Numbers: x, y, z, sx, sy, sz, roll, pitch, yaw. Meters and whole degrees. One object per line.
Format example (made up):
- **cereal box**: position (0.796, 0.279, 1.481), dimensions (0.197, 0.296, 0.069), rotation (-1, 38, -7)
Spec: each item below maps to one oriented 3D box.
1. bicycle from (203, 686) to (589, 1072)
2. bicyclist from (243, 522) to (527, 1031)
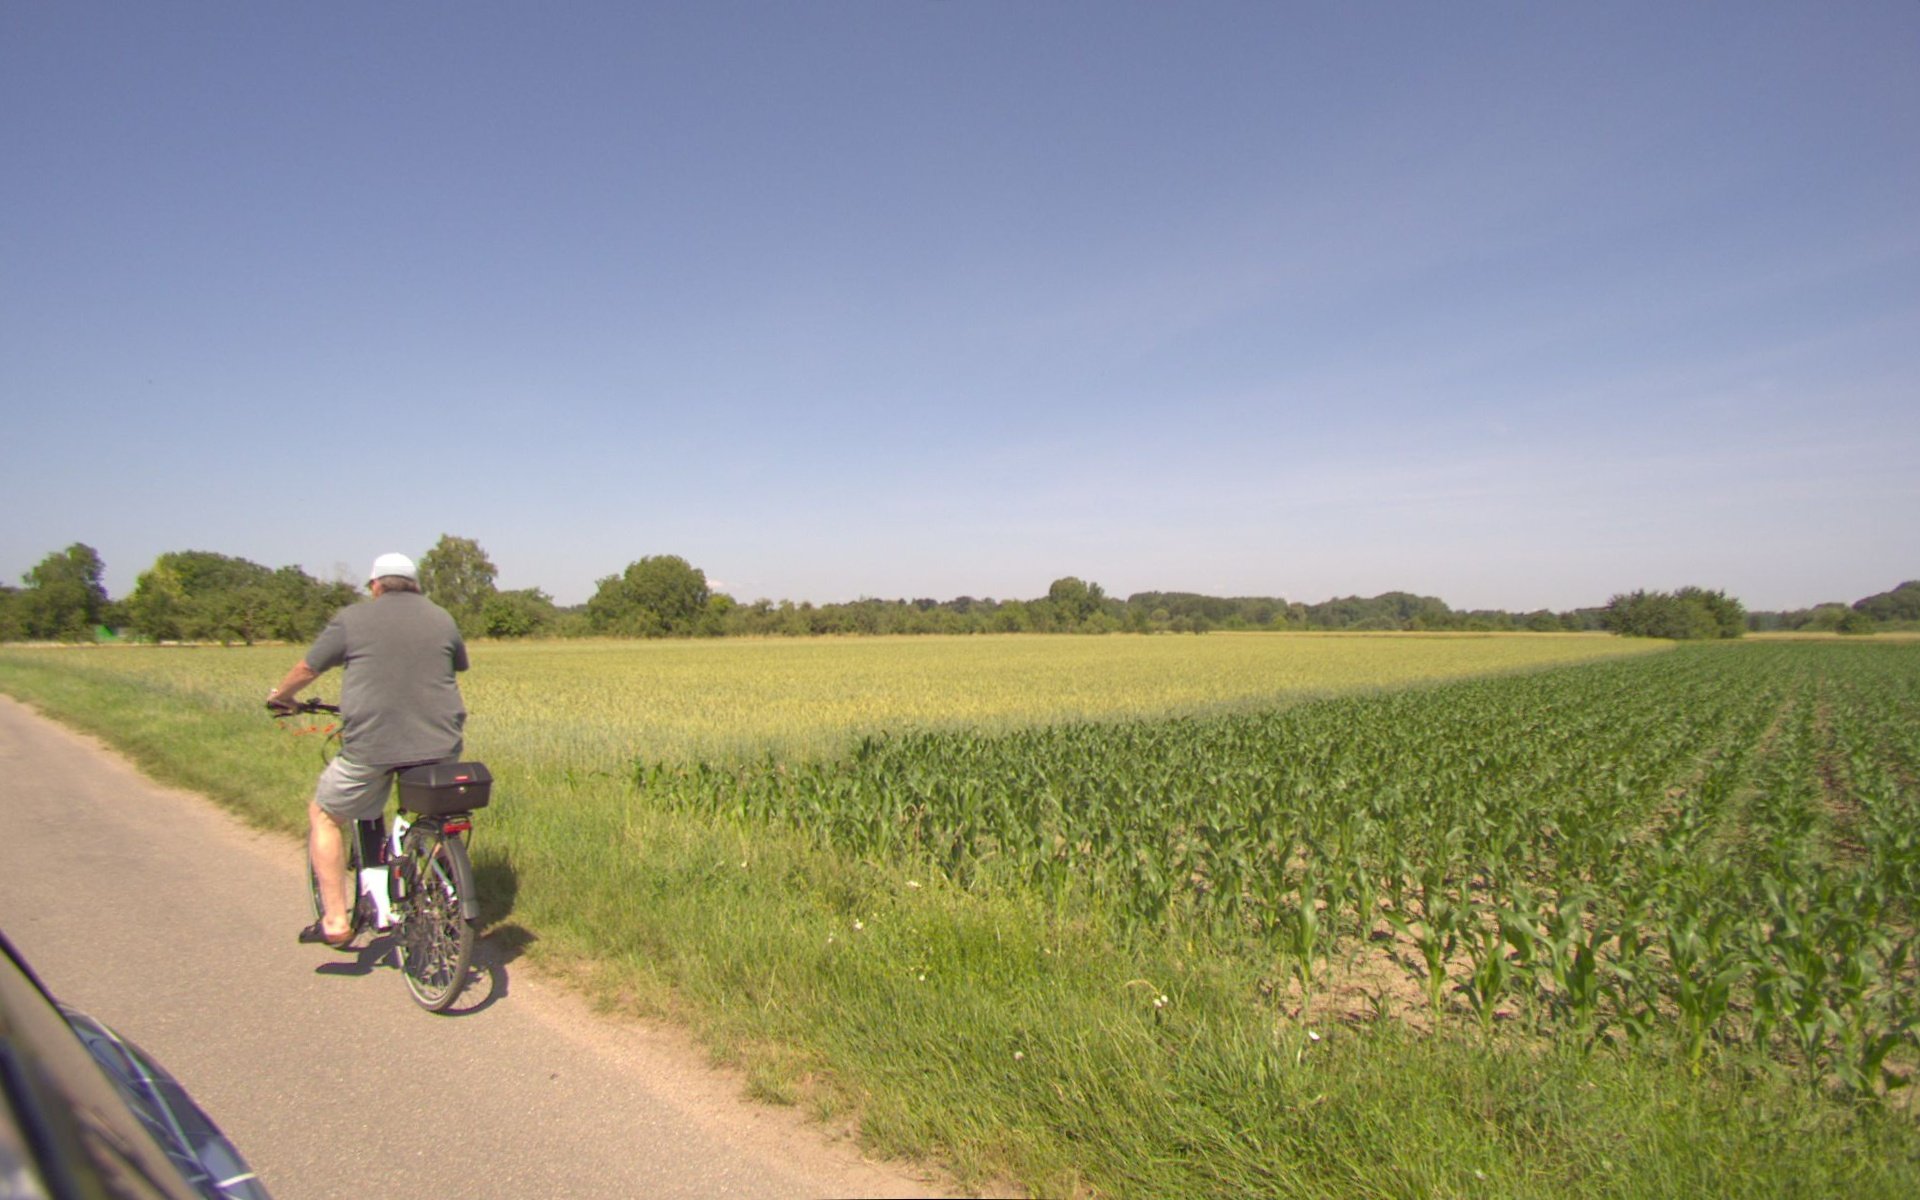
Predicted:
- **bicycle**: position (-2.380, 0.968, 4.160), dimensions (1.907, 1.136, 0.743), rotation (-1, -4, 41)
- **bicyclist**: position (-2.337, 0.644, 4.137), dimensions (0.716, 1.805, 0.743), rotation (-1, -4, 41)
